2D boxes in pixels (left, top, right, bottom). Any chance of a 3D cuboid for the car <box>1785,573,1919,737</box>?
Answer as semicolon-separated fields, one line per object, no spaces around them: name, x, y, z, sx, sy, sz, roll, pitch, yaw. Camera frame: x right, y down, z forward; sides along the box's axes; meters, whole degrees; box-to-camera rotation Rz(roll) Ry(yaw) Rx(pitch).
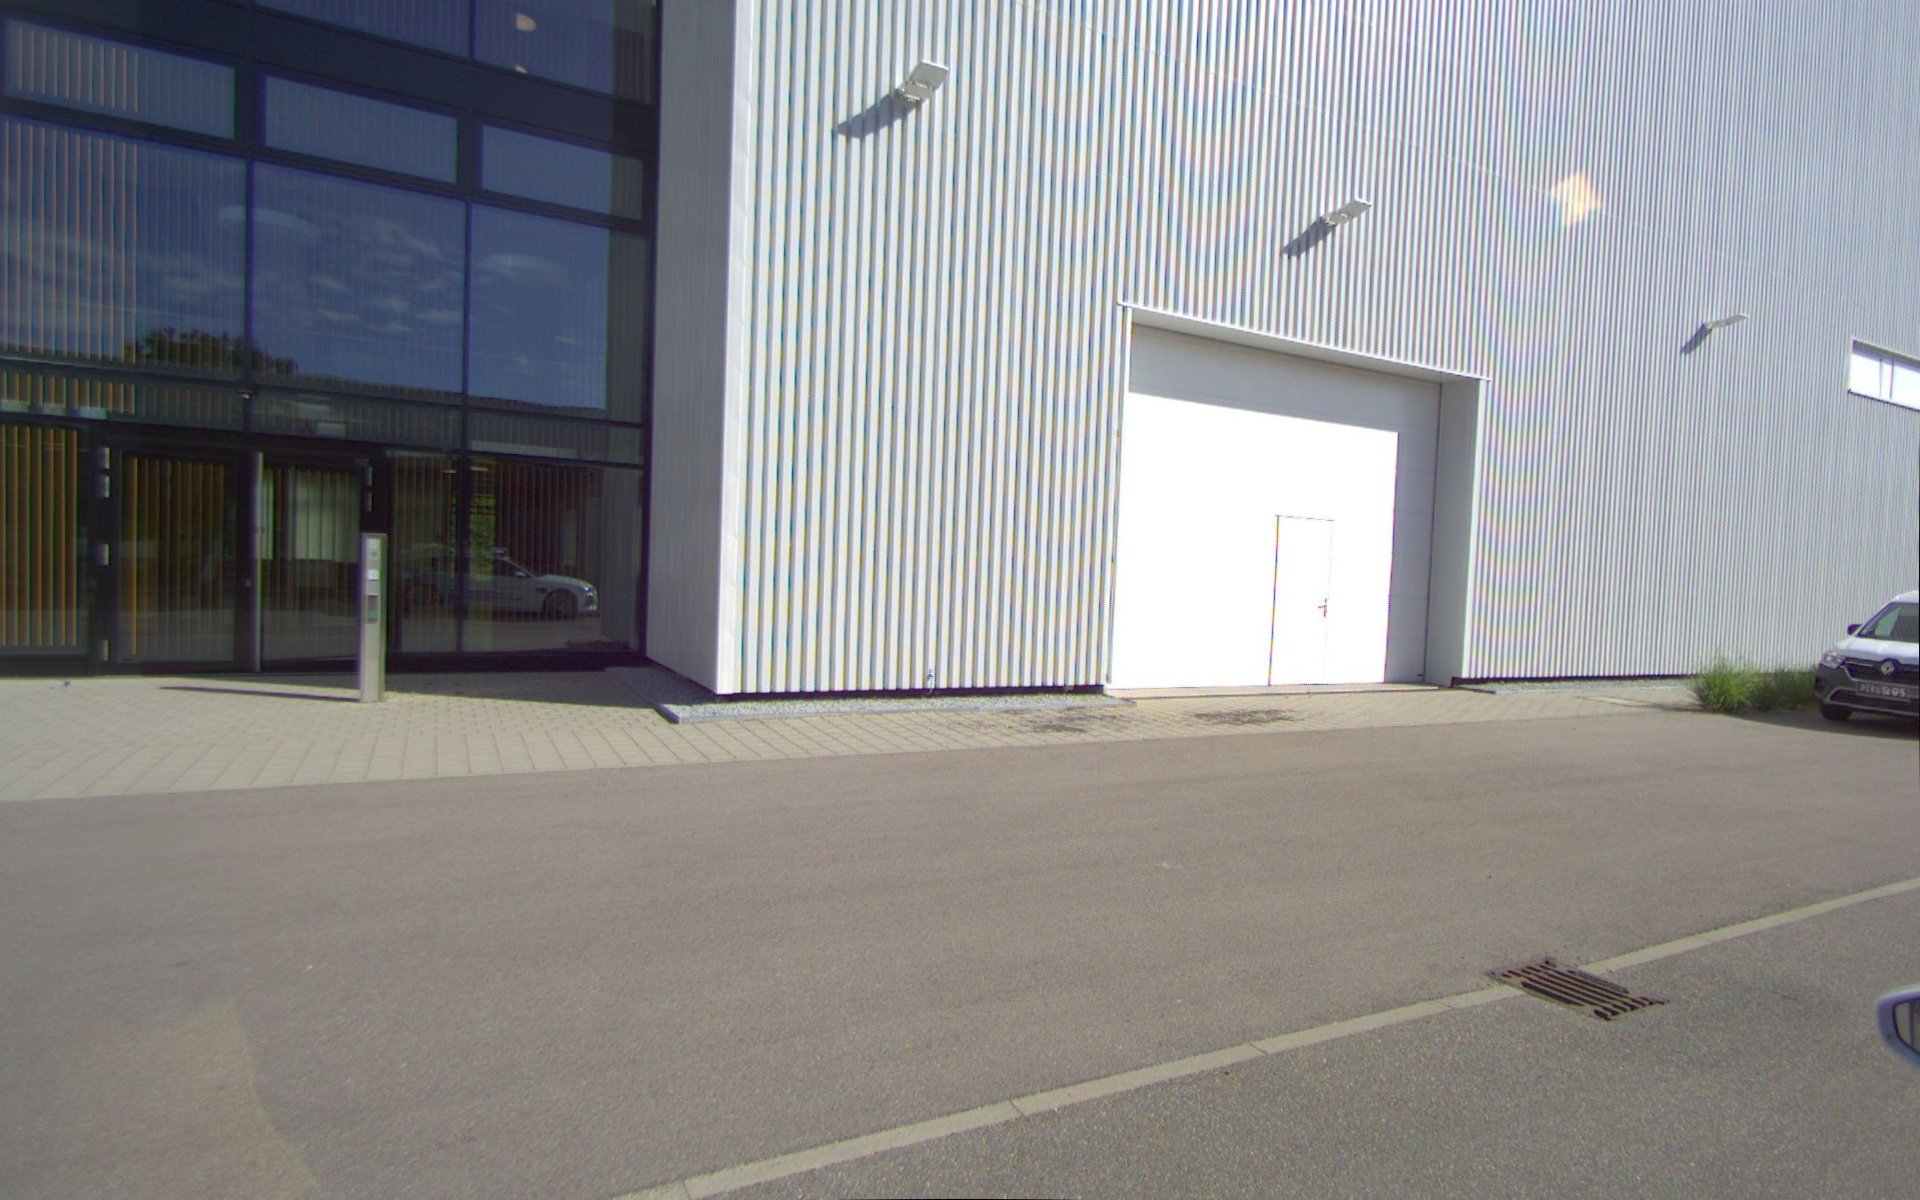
car;13.080;0.704;13.202;4.305;1.870;1.882;1;4;-29
